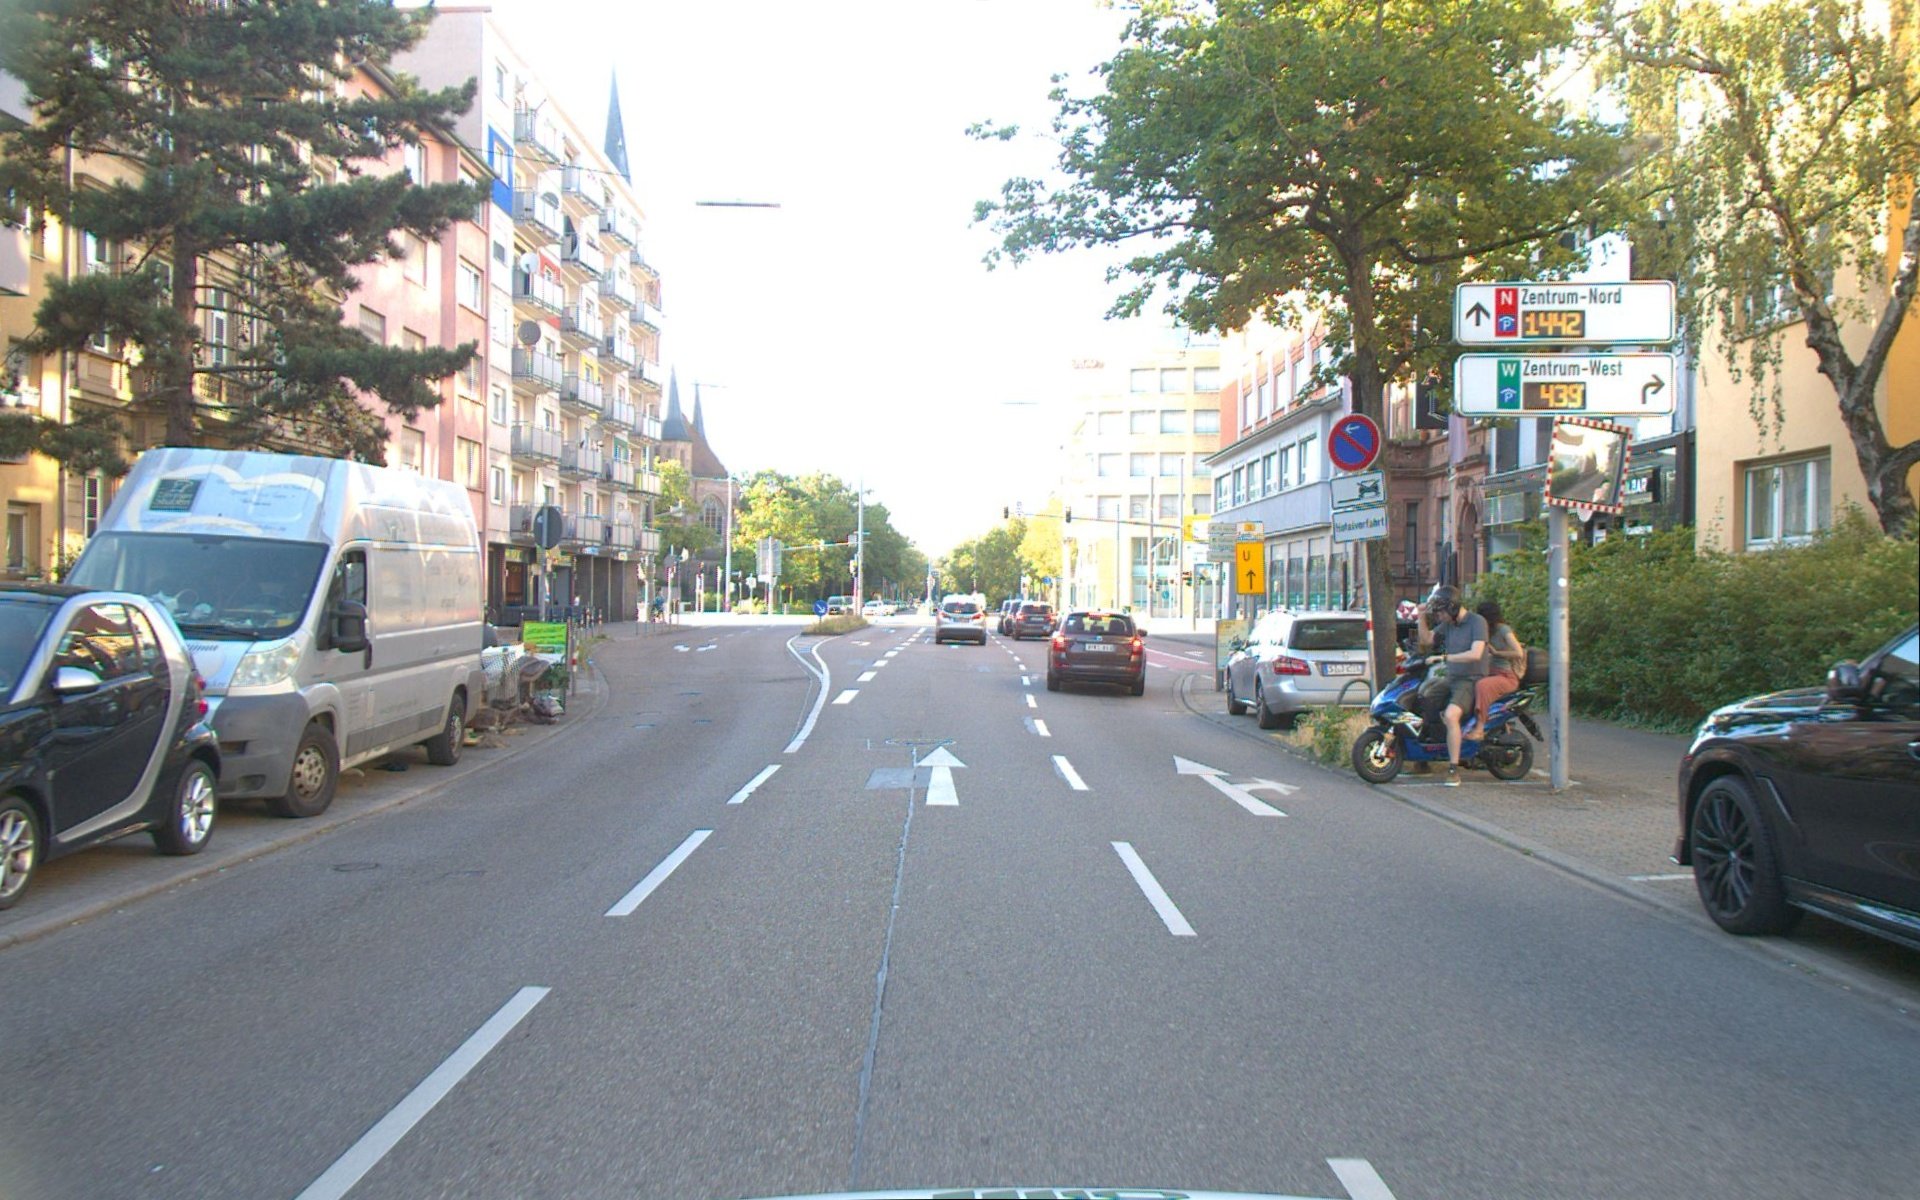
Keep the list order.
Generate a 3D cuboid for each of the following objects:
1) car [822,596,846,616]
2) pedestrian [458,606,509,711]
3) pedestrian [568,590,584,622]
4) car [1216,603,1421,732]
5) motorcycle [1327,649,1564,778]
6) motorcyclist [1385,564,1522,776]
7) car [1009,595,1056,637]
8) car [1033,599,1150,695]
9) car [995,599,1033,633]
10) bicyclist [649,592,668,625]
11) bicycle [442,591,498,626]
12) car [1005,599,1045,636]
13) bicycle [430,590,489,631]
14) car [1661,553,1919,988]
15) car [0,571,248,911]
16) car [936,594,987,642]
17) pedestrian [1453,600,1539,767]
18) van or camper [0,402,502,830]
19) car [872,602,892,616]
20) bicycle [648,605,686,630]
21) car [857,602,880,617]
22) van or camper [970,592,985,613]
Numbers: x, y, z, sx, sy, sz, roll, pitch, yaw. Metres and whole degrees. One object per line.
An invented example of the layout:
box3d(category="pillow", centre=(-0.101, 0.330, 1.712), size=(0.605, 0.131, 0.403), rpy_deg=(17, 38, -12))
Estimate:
box3d(category="car", centre=(-10.906, 0.512, 143.855), size=(1.743, 1.676, 4.000), rpy_deg=(1, 0, 0))
box3d(category="pedestrian", centre=(-6.547, 0.799, 22.745), size=(0.548, 1.402, 0.480), rpy_deg=(2, 0, -6))
box3d(category="pedestrian", centre=(-17.301, 0.262, 74.547), size=(0.473, 1.408, 0.481), rpy_deg=(1, -1, 20))
box3d(category="car", centre=(4.744, 0.823, 22.576), size=(1.817, 1.539, 4.835), rpy_deg=(-1, 0, 1))
box3d(category="motorcycle", centre=(4.365, 1.009, 14.913), size=(1.892, 1.090, 0.818), rpy_deg=(1, 0, -13))
box3d(category="motorcyclist", centre=(4.371, 0.595, 14.708), size=(0.723, 1.809, 1.085), rpy_deg=(1, 0, -12))
box3d(category="car", centre=(2.826, 0.605, 65.098), size=(1.617, 1.510, 4.239), rpy_deg=(2, 0, 0))
box3d(category="car", centre=(2.305, 0.788, 29.839), size=(1.673, 1.482, 4.158), rpy_deg=(3, 0, 0))
box3d(category="car", centre=(2.482, 0.708, 77.002), size=(1.552, 1.472, 3.647), rpy_deg=(2, 0, -1))
box3d(category="bicyclist", centre=(-15.508, 0.440, 85.071), size=(0.766, 1.689, 0.900), rpy_deg=(2, -1, 0))
box3d(category="bicycle", centre=(-15.541, 0.279, 52.484), size=(1.642, 1.059, 0.547), rpy_deg=(2, -1, -15))
box3d(category="car", centre=(2.779, 0.737, 71.338), size=(1.459, 1.532, 3.478), rpy_deg=(1, 0, -2))
box3d(category="bicycle", centre=(-15.394, 0.322, 50.851), size=(1.649, 1.180, 0.492), rpy_deg=(2, -1, -27))
box3d(category="car", centre=(4.683, 0.673, 6.271), size=(1.908, 1.684, 4.794), rpy_deg=(1, 0, -2))
box3d(category="car", centre=(-5.171, 0.647, 8.908), size=(1.375, 1.575, 2.762), rpy_deg=(3, 0, 1))
box3d(category="car", centre=(0.025, 0.596, 57.342), size=(1.673, 1.536, 4.308), rpy_deg=(2, 0, 0))
box3d(category="pedestrian", centre=(4.804, 0.736, 14.839), size=(0.430, 1.455, 0.702), rpy_deg=(1, 0, -12))
box3d(category="van or camper", centre=(-5.573, 0.105, 13.829), size=(1.995, 2.710, 6.012), rpy_deg=(3, 0, -3))
box3d(category="car", centre=(-7.635, 0.877, 162.627), size=(1.743, 1.258, 4.000), rpy_deg=(1, 0, 0))
box3d(category="bicycle", centre=(-14.988, 0.913, 84.661), size=(1.790, 1.209, 0.734), rpy_deg=(2, 0, -2))
box3d(category="car", centre=(-7.937, 0.808, 143.334), size=(1.743, 1.258, 4.000), rpy_deg=(1, 0, 0))
box3d(category="van or camper", centre=(2.419, 0.306, 223.120), size=(1.952, 2.686, 5.351), rpy_deg=(1, 0, 1))
